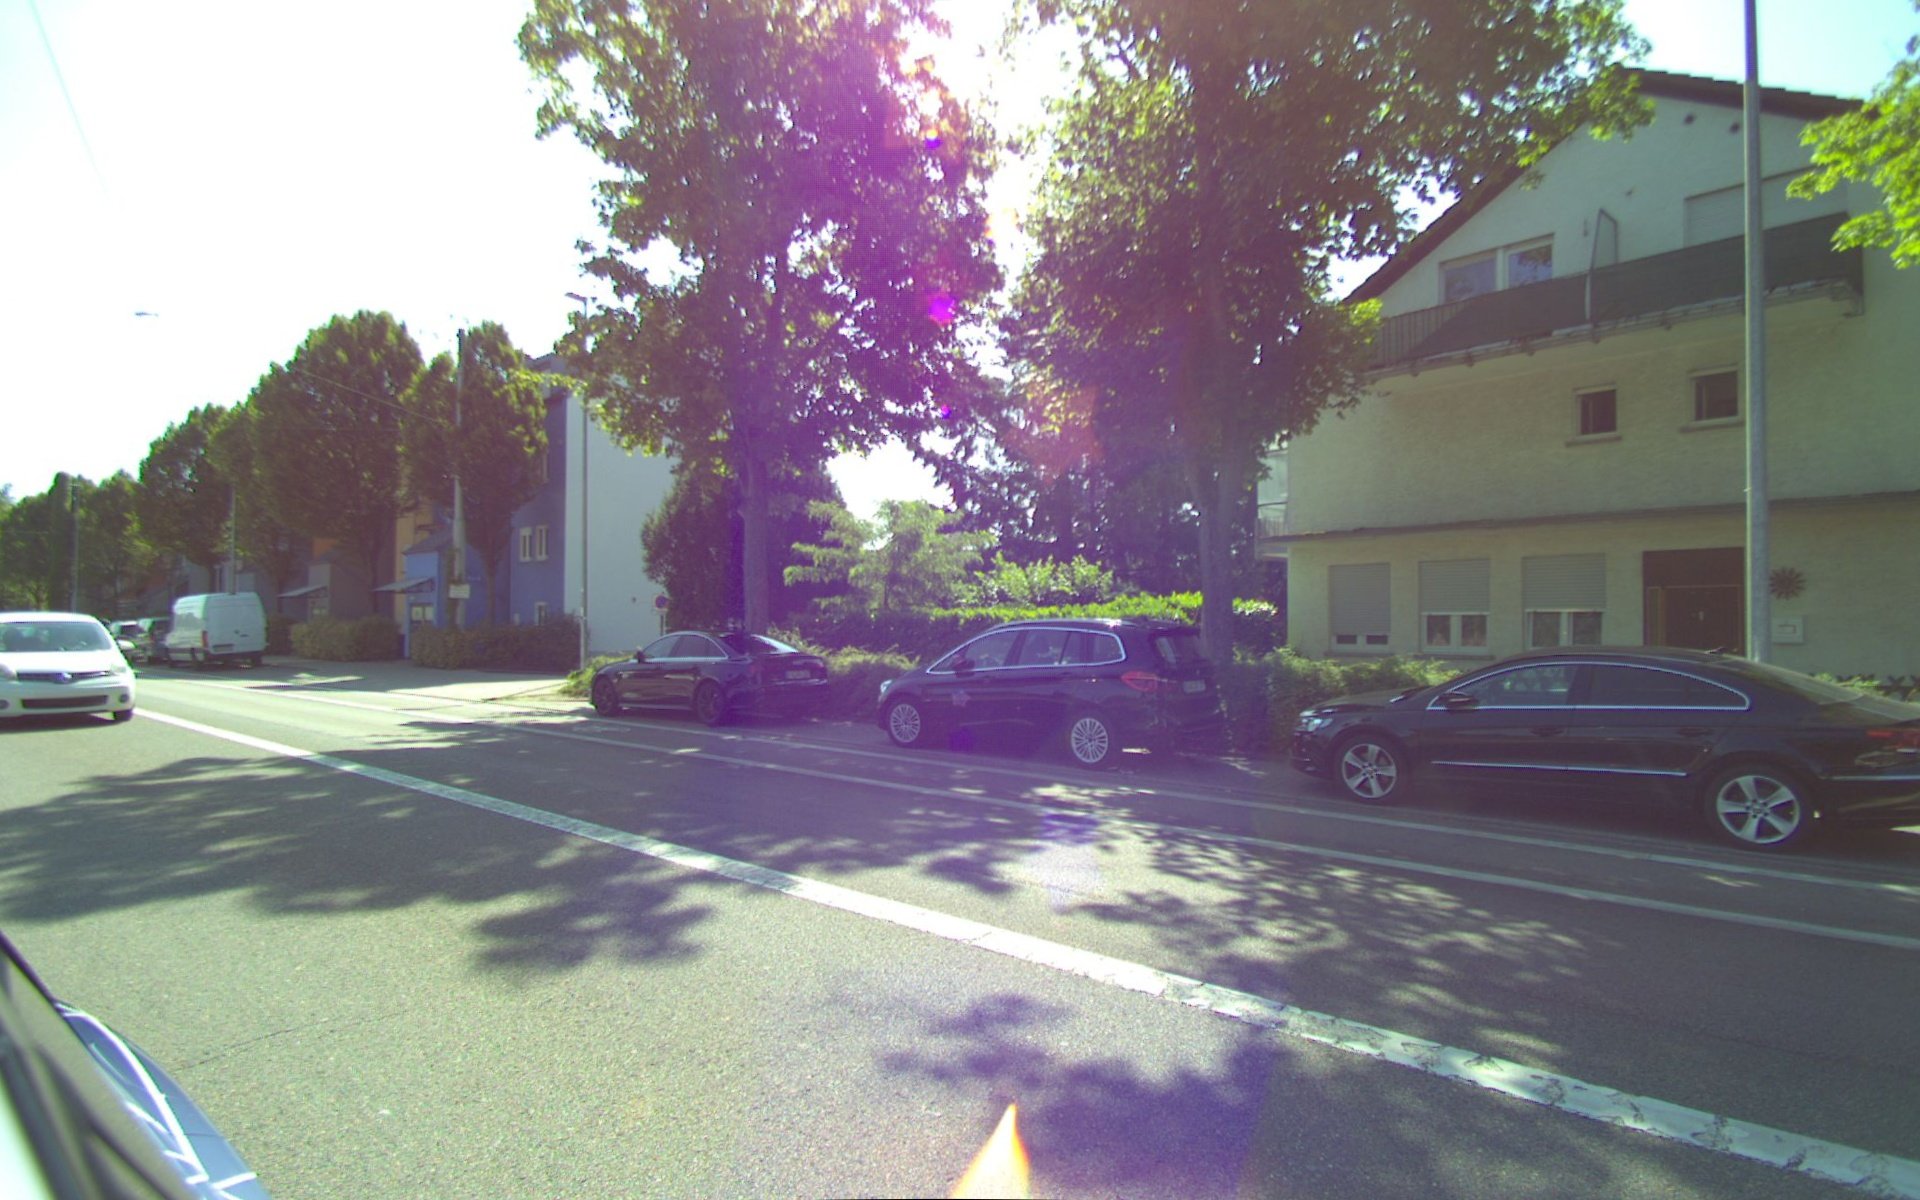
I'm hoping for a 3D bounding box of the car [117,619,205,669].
[{"bbox_3d":[-33.748,1.818,42.720,4.964,1.879,1.973,-1,2,41],"label":"car"}]

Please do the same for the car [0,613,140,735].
[{"bbox_3d":[-13.765,1.005,14.991,4.391,1.559,1.762,-1,-1,40],"label":"car"}]

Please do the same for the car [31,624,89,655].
[{"bbox_3d":[-49.881,2.134,56.078,4.159,1.619,1.661,-1,-1,38],"label":"car"}]

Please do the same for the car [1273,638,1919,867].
[{"bbox_3d":[5.223,1.046,8.345,4.779,1.390,1.673,-2,-1,41],"label":"car"}]

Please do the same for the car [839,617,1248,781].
[{"bbox_3d":[0.819,1.038,12.294,4.891,1.618,1.743,-1,-2,41],"label":"car"}]

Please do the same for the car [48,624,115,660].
[{"bbox_3d":[-45.945,2.176,52.893,4.343,1.741,1.812,-1,0,38],"label":"car"}]

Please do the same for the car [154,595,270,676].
[{"bbox_3d":[-27.667,1.273,37.314,7.084,2.697,1.973,-2,1,42],"label":"car"}]

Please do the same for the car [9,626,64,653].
[{"bbox_3d":[-54.829,2.329,60.051,4.206,1.481,1.662,-1,-1,37],"label":"car"}]

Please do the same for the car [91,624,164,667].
[{"bbox_3d":[-38.034,2.025,46.200,4.539,1.715,1.829,-1,2,42],"label":"car"}]

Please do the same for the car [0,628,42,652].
[{"bbox_3d":[-60.065,2.521,64.181,4.826,1.457,1.663,-1,-1,35],"label":"car"}]

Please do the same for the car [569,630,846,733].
[{"bbox_3d":[-4.272,1.229,16.730,4.903,1.477,1.822,-1,-2,38],"label":"car"}]
